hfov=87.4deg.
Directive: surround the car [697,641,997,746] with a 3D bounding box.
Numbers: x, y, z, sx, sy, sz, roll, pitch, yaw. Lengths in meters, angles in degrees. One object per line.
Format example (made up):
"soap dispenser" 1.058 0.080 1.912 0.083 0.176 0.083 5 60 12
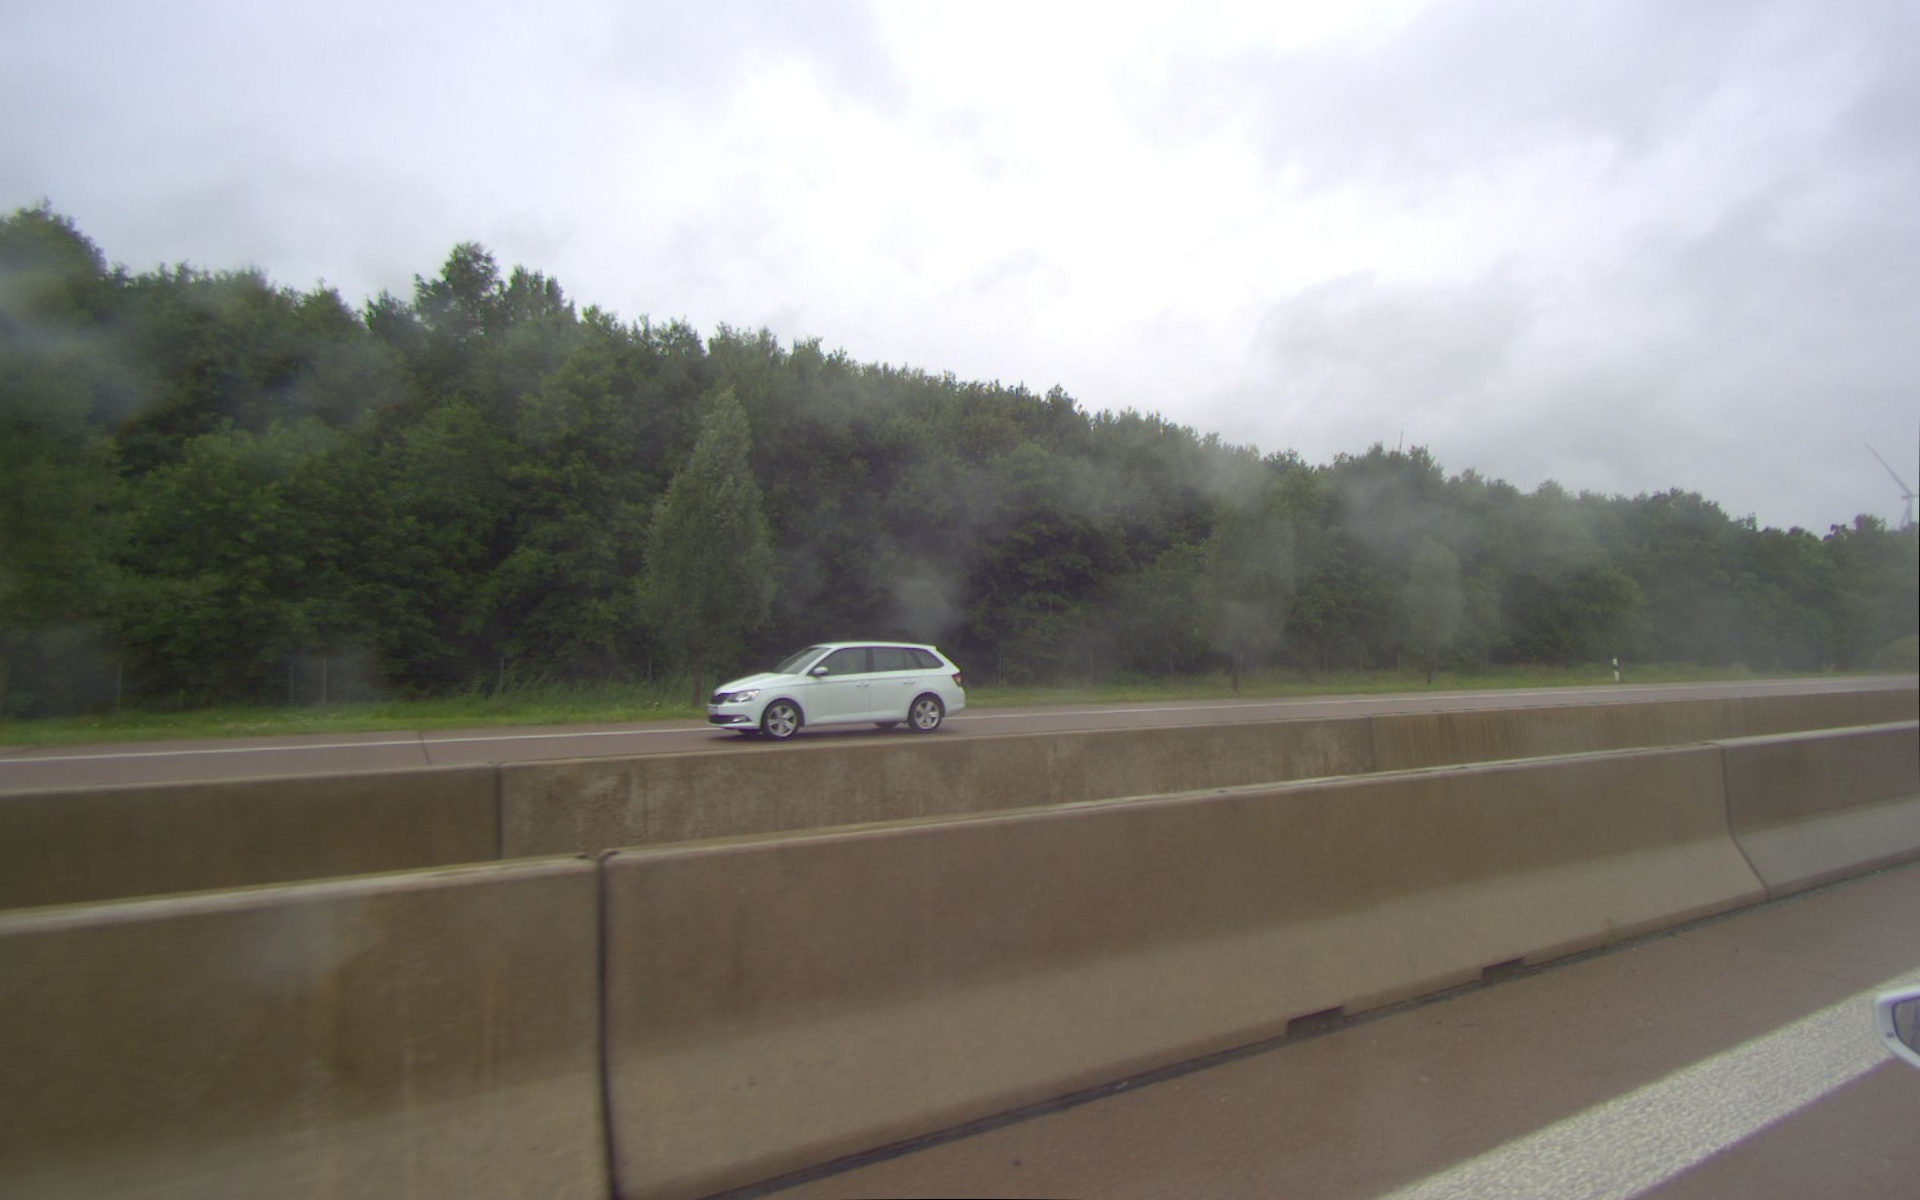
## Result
"car" -1.773 1.443 16.269 4.529 1.499 1.746 2 -4 -30
